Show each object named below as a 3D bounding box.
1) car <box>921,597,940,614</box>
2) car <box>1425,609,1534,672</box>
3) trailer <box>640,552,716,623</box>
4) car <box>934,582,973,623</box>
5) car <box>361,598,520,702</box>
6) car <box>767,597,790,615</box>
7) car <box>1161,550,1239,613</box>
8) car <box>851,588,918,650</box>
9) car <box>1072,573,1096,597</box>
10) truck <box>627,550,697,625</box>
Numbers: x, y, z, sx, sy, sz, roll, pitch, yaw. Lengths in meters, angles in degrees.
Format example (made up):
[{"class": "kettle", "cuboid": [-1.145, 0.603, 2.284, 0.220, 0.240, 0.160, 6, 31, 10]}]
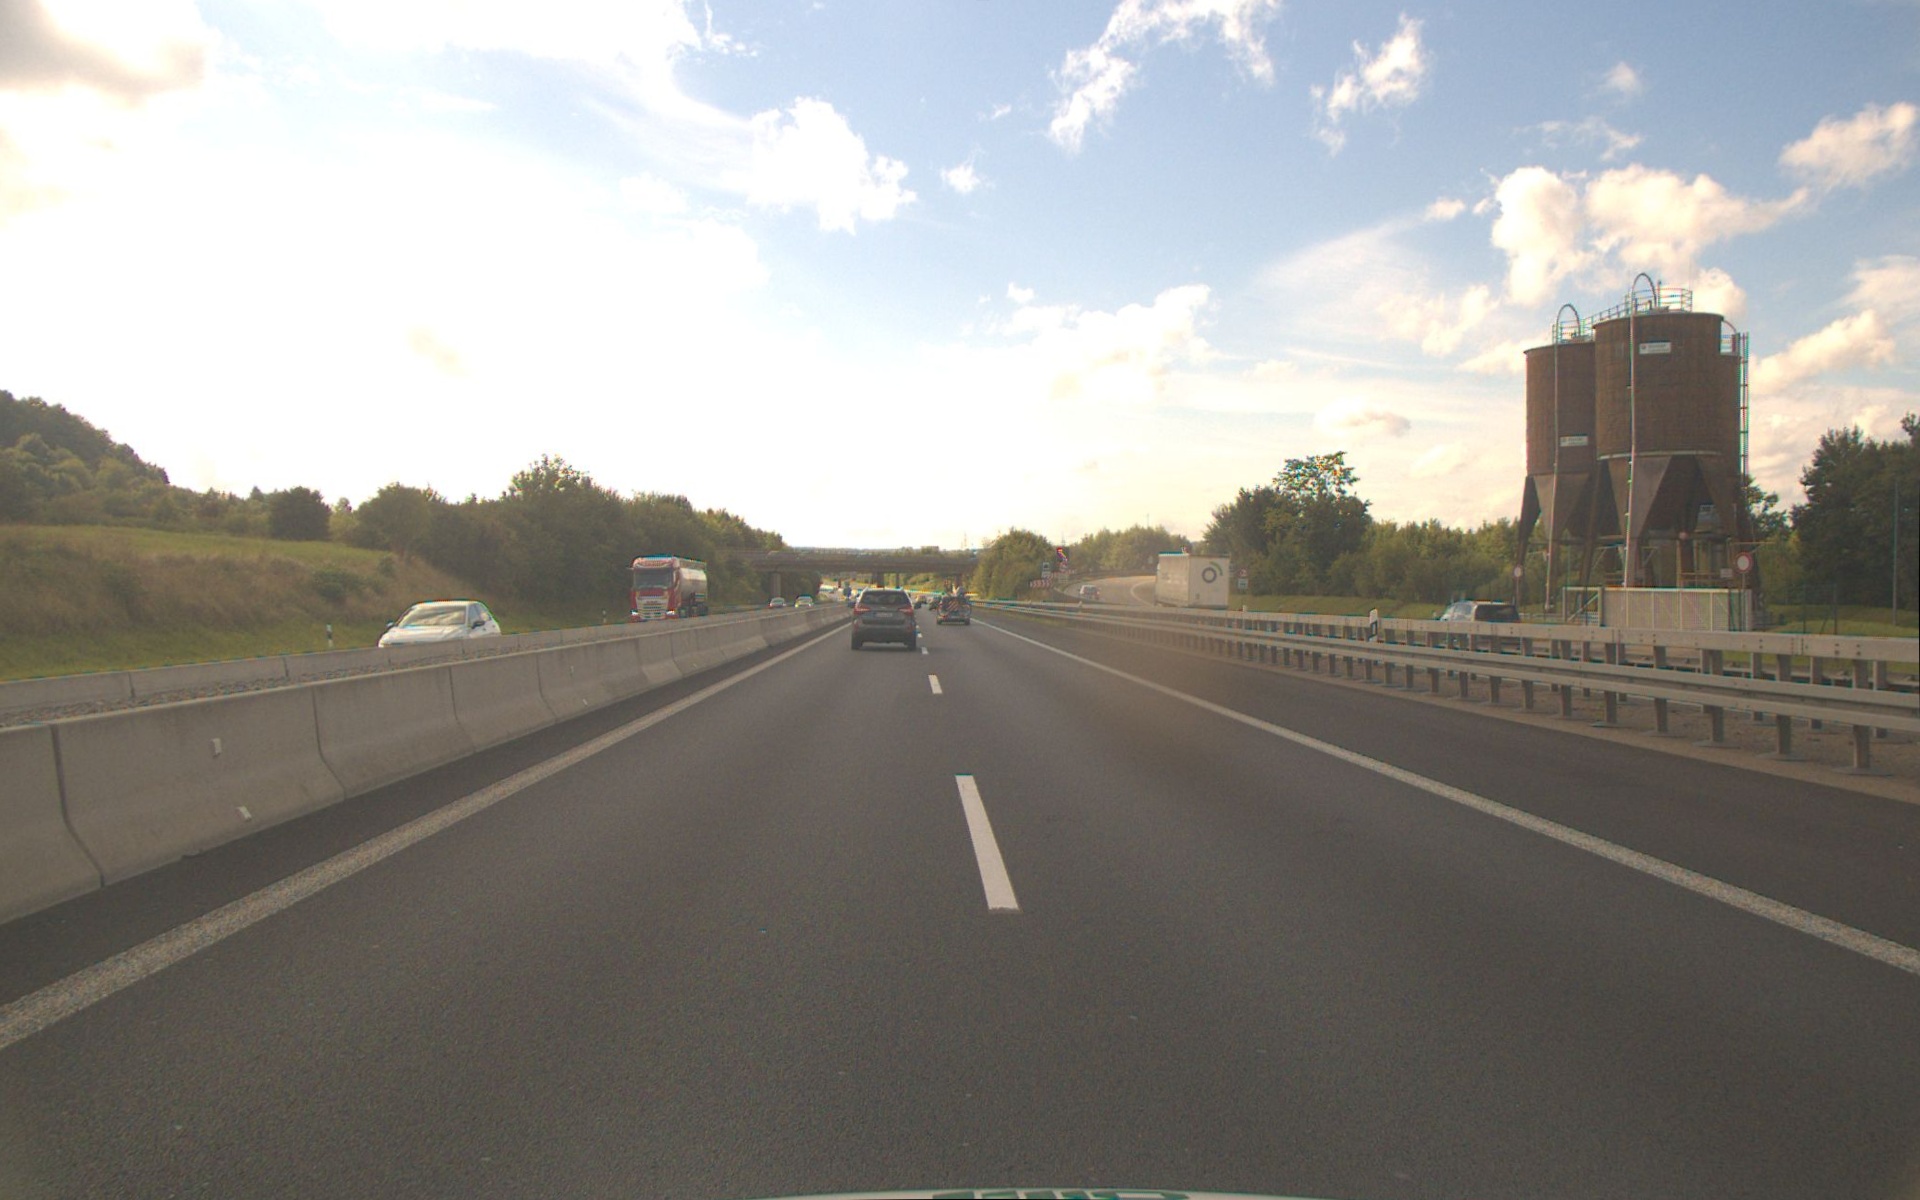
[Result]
[{"class": "car", "cuboid": [-3.140, 0.568, 177.590, 1.935, 1.810, 4.119, -2, 0, -2]}, {"class": "car", "cuboid": [15.810, 1.201, 50.570, 1.953, 1.747, 3.999, -2, 0, -2]}, {"class": "trailer", "cuboid": [-16.687, -0.704, 98.588, 2.658, 3.955, 11.158, -2, 0, -1]}, {"class": "car", "cuboid": [-0.355, 0.133, 88.908, 1.953, 2.117, 3.999, -2, 0, -2]}, {"class": "car", "cuboid": [-10.917, 0.988, 35.141, 1.953, 2.049, 4.676, 0, 0, -1]}, {"class": "car", "cuboid": [-18.601, 0.642, 169.241, 1.953, 1.747, 3.999, -2, 0, -2]}, {"class": "car", "cuboid": [15.021, -1.122, 104.115, 3.504, 3.741, 7.546, -2, 0, -2]}, {"class": "car", "cuboid": [-2.118, 0.512, 47.157, 1.714, 1.659, 3.608, -2, 0, 0]}, {"class": "car", "cuboid": [11.030, -1.315, 147.550, 1.952, 2.049, 4.001, -2, 0, 2]}, {"class": "truck", "cuboid": [-16.612, -0.682, 92.627, 2.682, 3.993, 6.900, -2, 0, -1]}]
